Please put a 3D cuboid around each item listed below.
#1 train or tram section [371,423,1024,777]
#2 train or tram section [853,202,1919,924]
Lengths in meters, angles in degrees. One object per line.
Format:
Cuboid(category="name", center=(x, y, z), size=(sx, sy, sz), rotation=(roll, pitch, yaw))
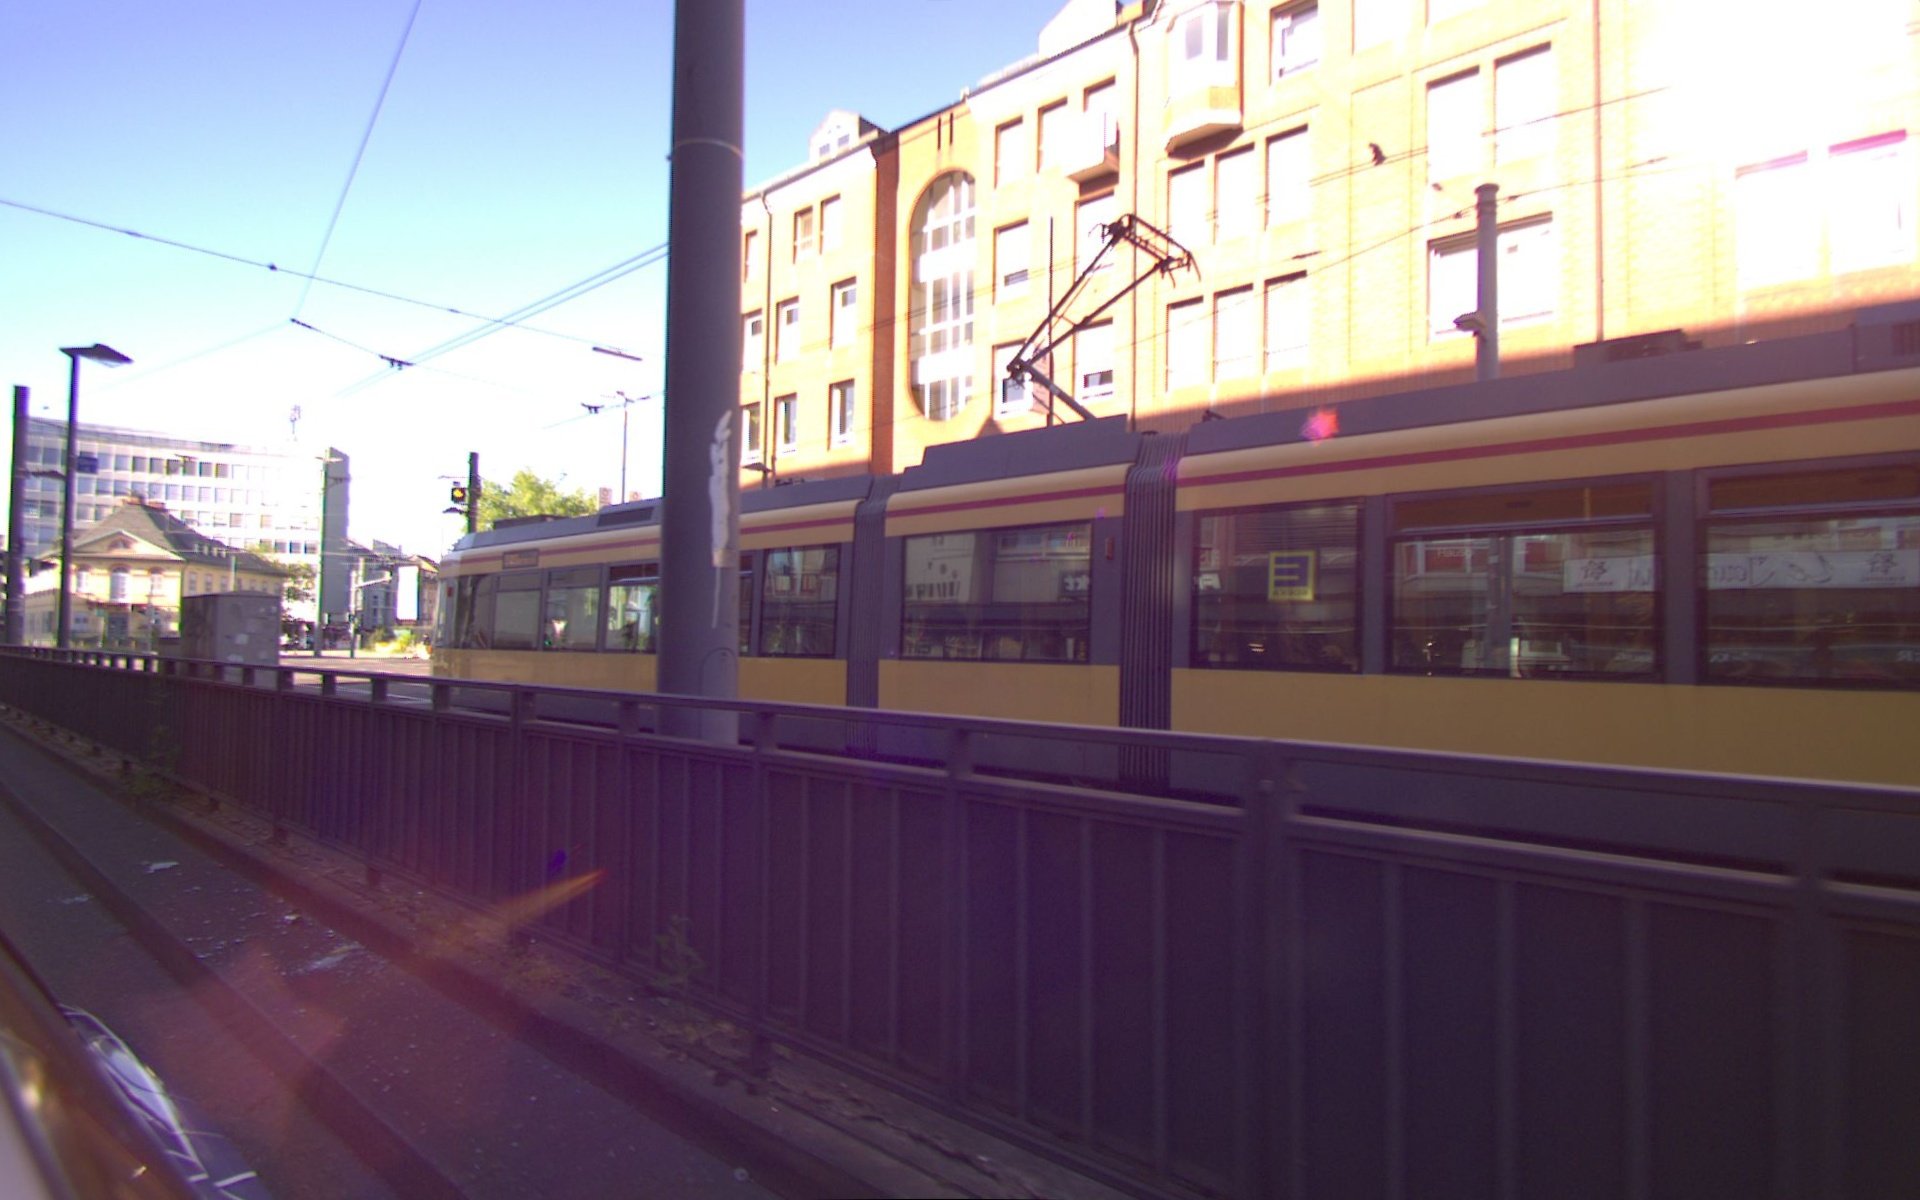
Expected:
Cuboid(category="train or tram section", center=(-5.375, 0.165, 16.265), size=(13.939, 3.672, 2.942), rotation=(-2, -2, 42))
Cuboid(category="train or tram section", center=(6.010, -0.190, 6.113), size=(16.479, 3.672, 2.942), rotation=(-3, -2, 42))
